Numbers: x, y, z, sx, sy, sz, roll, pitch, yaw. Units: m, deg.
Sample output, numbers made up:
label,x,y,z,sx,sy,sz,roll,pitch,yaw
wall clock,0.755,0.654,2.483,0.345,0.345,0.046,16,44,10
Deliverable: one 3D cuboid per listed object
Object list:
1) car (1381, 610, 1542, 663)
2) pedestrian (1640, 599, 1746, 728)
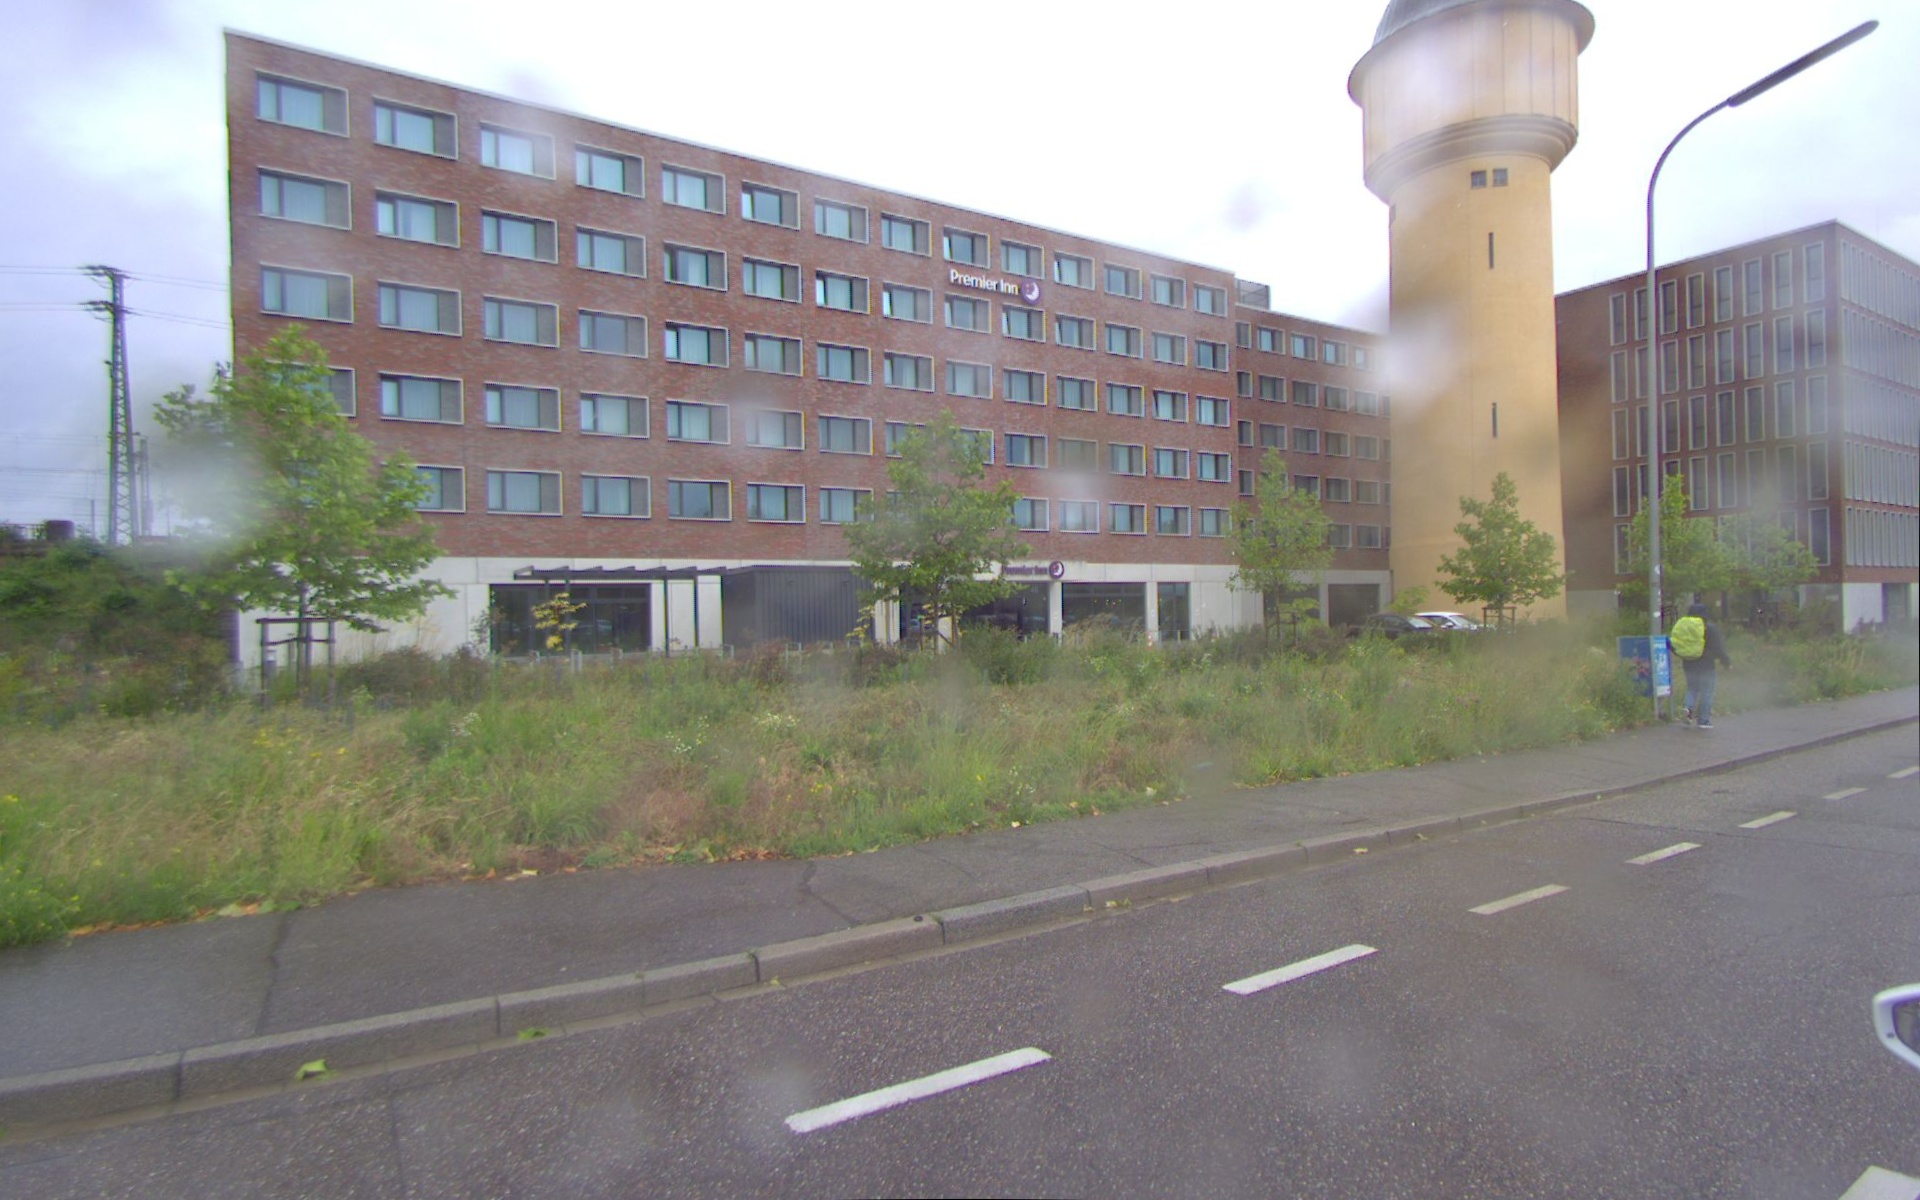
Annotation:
label,x,y,z,sx,sy,sz,roll,pitch,yaw
car,16.965,1.214,34.155,1.982,1.663,4.489,0,-2,-37
pedestrian,10.366,0.872,14.208,1.016,1.741,0.903,0,-1,-35
